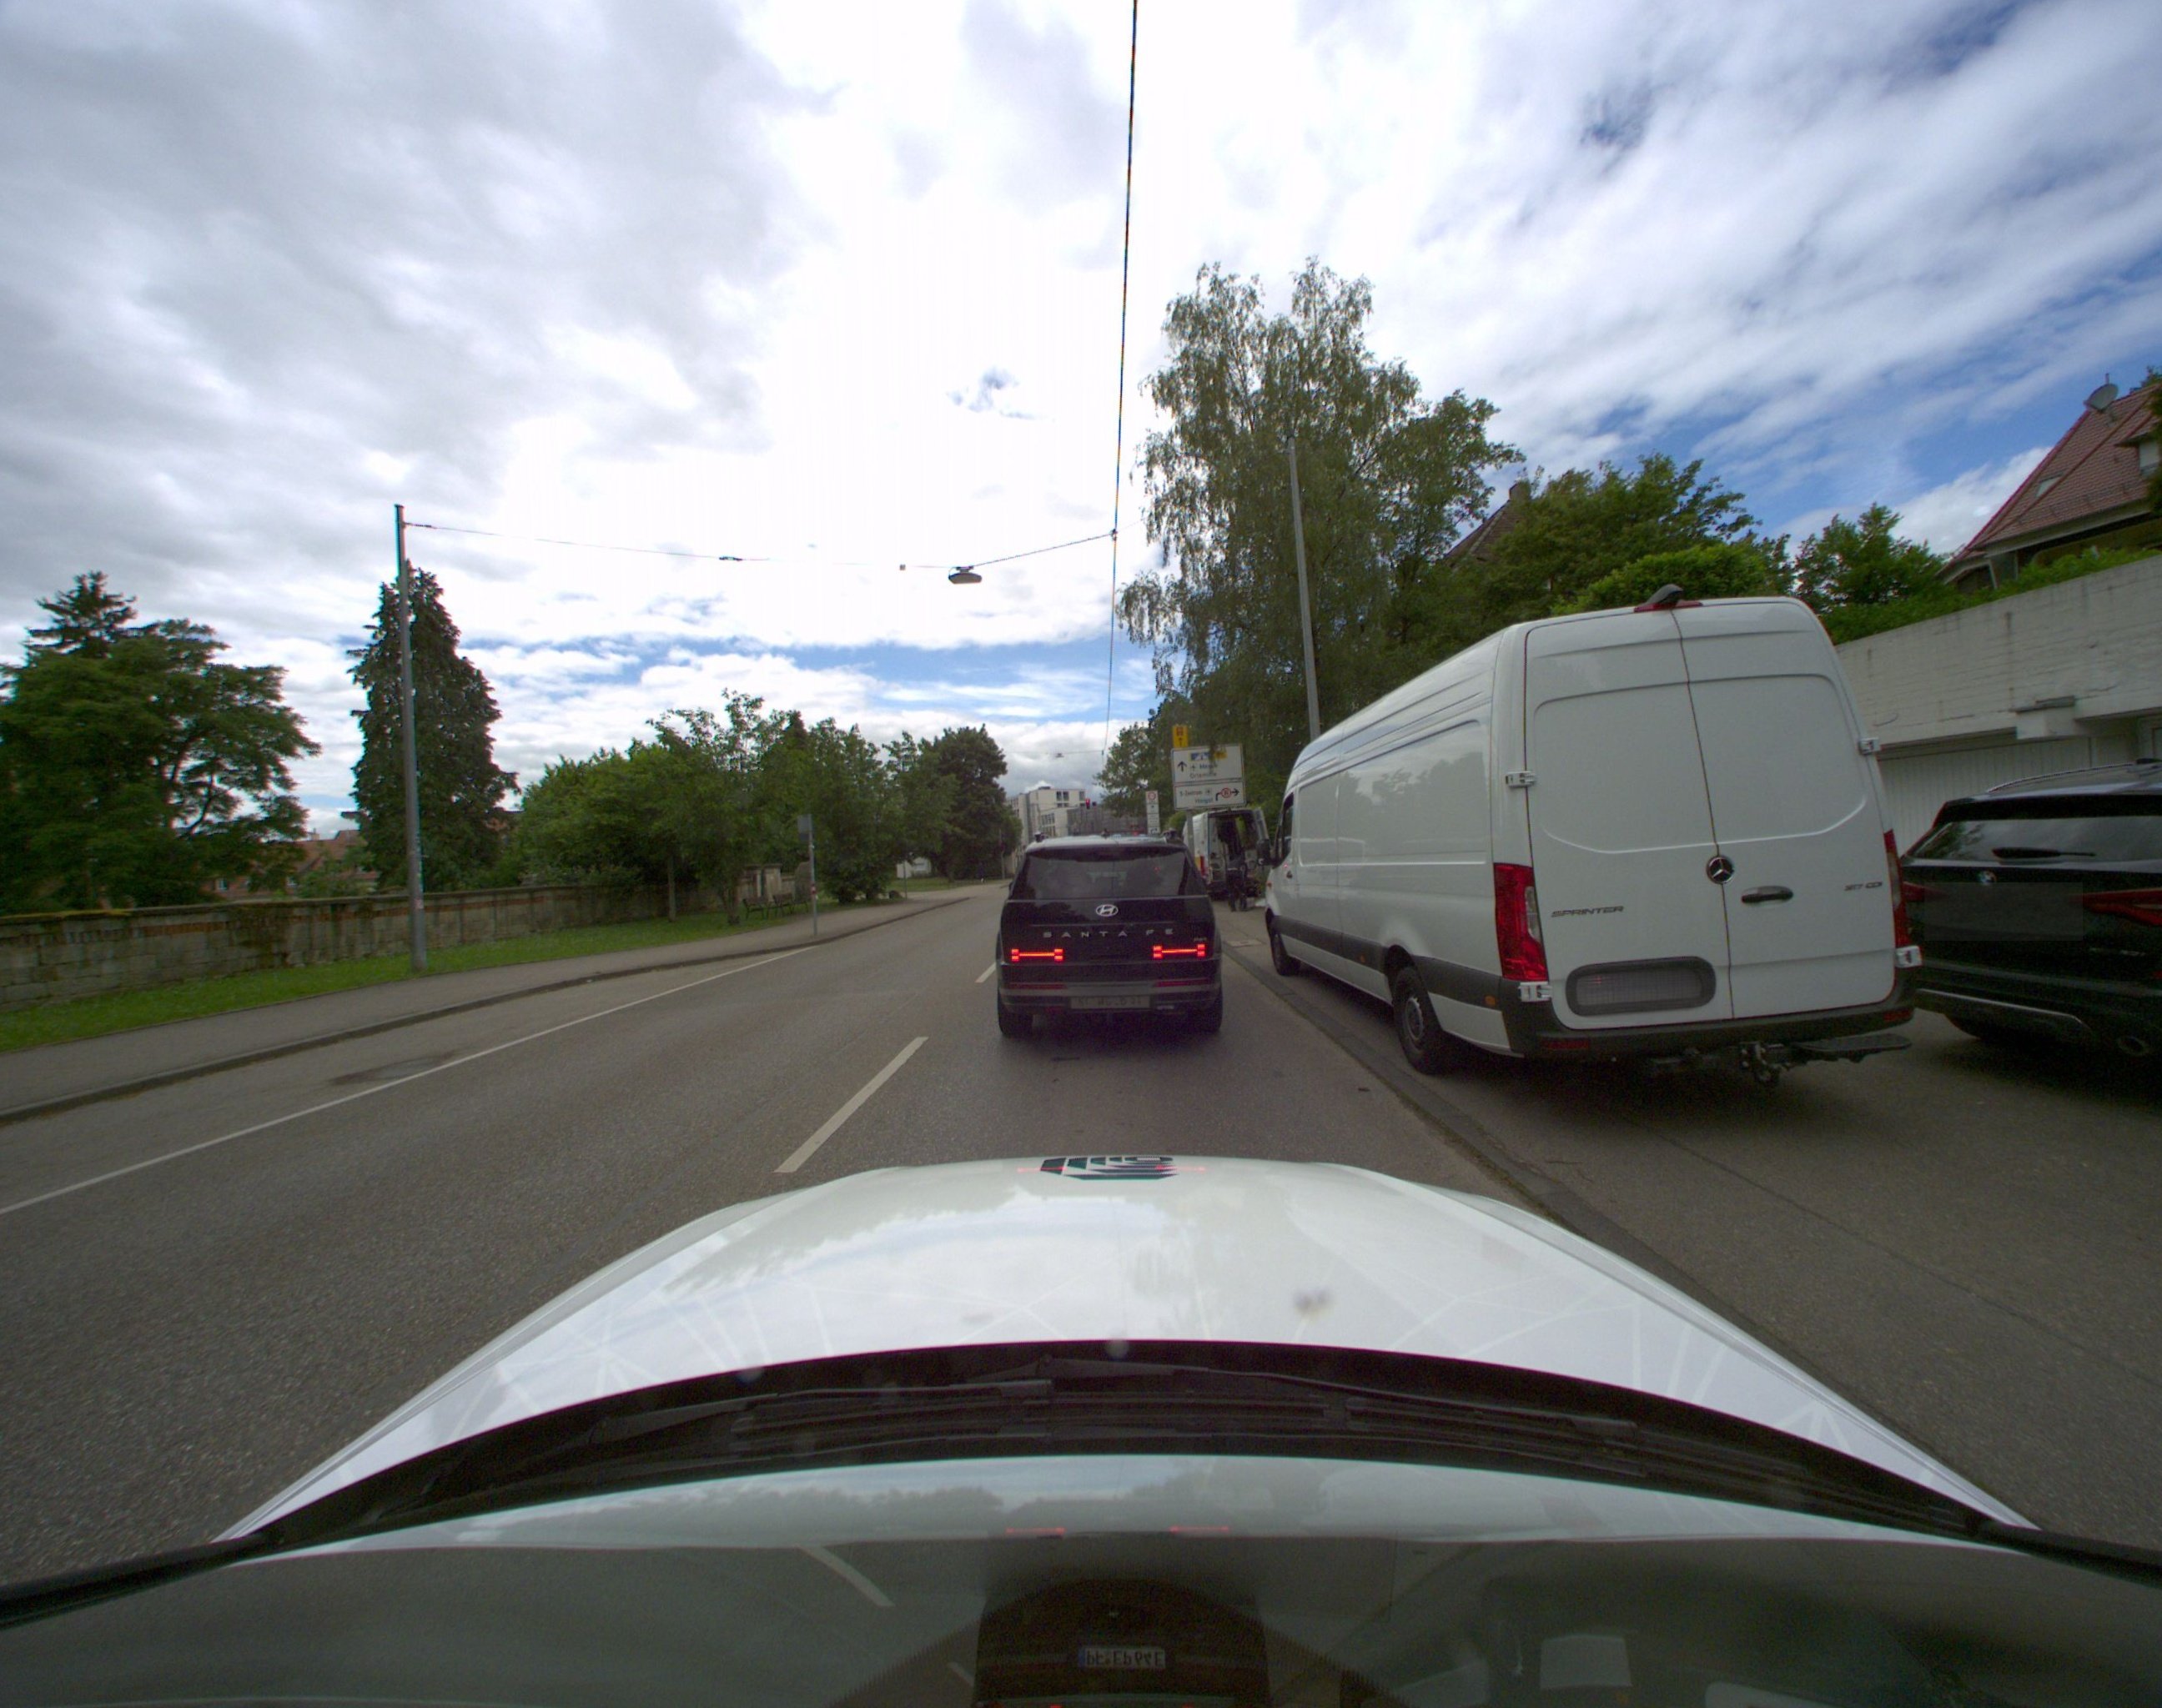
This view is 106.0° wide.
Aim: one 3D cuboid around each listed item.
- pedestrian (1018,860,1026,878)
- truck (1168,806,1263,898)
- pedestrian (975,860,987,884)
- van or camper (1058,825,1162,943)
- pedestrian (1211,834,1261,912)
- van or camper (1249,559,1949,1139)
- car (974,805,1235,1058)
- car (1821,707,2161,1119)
[{"bbox_3d":[-5.734,1.421,79.312,0.737,1.715,0.791,-3,-1,-5],"label":"pedestrian"},{"bbox_3d":[4.208,-0.029,26.427,1.937,2.561,5.213,-5,-1,-1],"label":"truck"},{"bbox_3d":[-7.100,1.272,57.967,0.737,1.715,0.791,-3,-1,-5],"label":"pedestrian"},{"bbox_3d":[0.573,0.537,16.502,1.748,2.013,4.002,-3,0,2],"label":"van or camper"},{"bbox_3d":[3.688,0.444,19.361,0.750,1.797,0.878,-3,-1,40],"label":"pedestrian"},{"bbox_3d":[3.089,-0.015,7.088,1.986,2.620,6.543,-3,0,2],"label":"van or camper"},{"bbox_3d":[0.236,0.580,8.017,1.883,1.819,4.002,-1,0,2],"label":"car"},{"bbox_3d":[6.817,0.141,4.117,4.398,1.750,1.739,-3,0,3],"label":"car"}]
